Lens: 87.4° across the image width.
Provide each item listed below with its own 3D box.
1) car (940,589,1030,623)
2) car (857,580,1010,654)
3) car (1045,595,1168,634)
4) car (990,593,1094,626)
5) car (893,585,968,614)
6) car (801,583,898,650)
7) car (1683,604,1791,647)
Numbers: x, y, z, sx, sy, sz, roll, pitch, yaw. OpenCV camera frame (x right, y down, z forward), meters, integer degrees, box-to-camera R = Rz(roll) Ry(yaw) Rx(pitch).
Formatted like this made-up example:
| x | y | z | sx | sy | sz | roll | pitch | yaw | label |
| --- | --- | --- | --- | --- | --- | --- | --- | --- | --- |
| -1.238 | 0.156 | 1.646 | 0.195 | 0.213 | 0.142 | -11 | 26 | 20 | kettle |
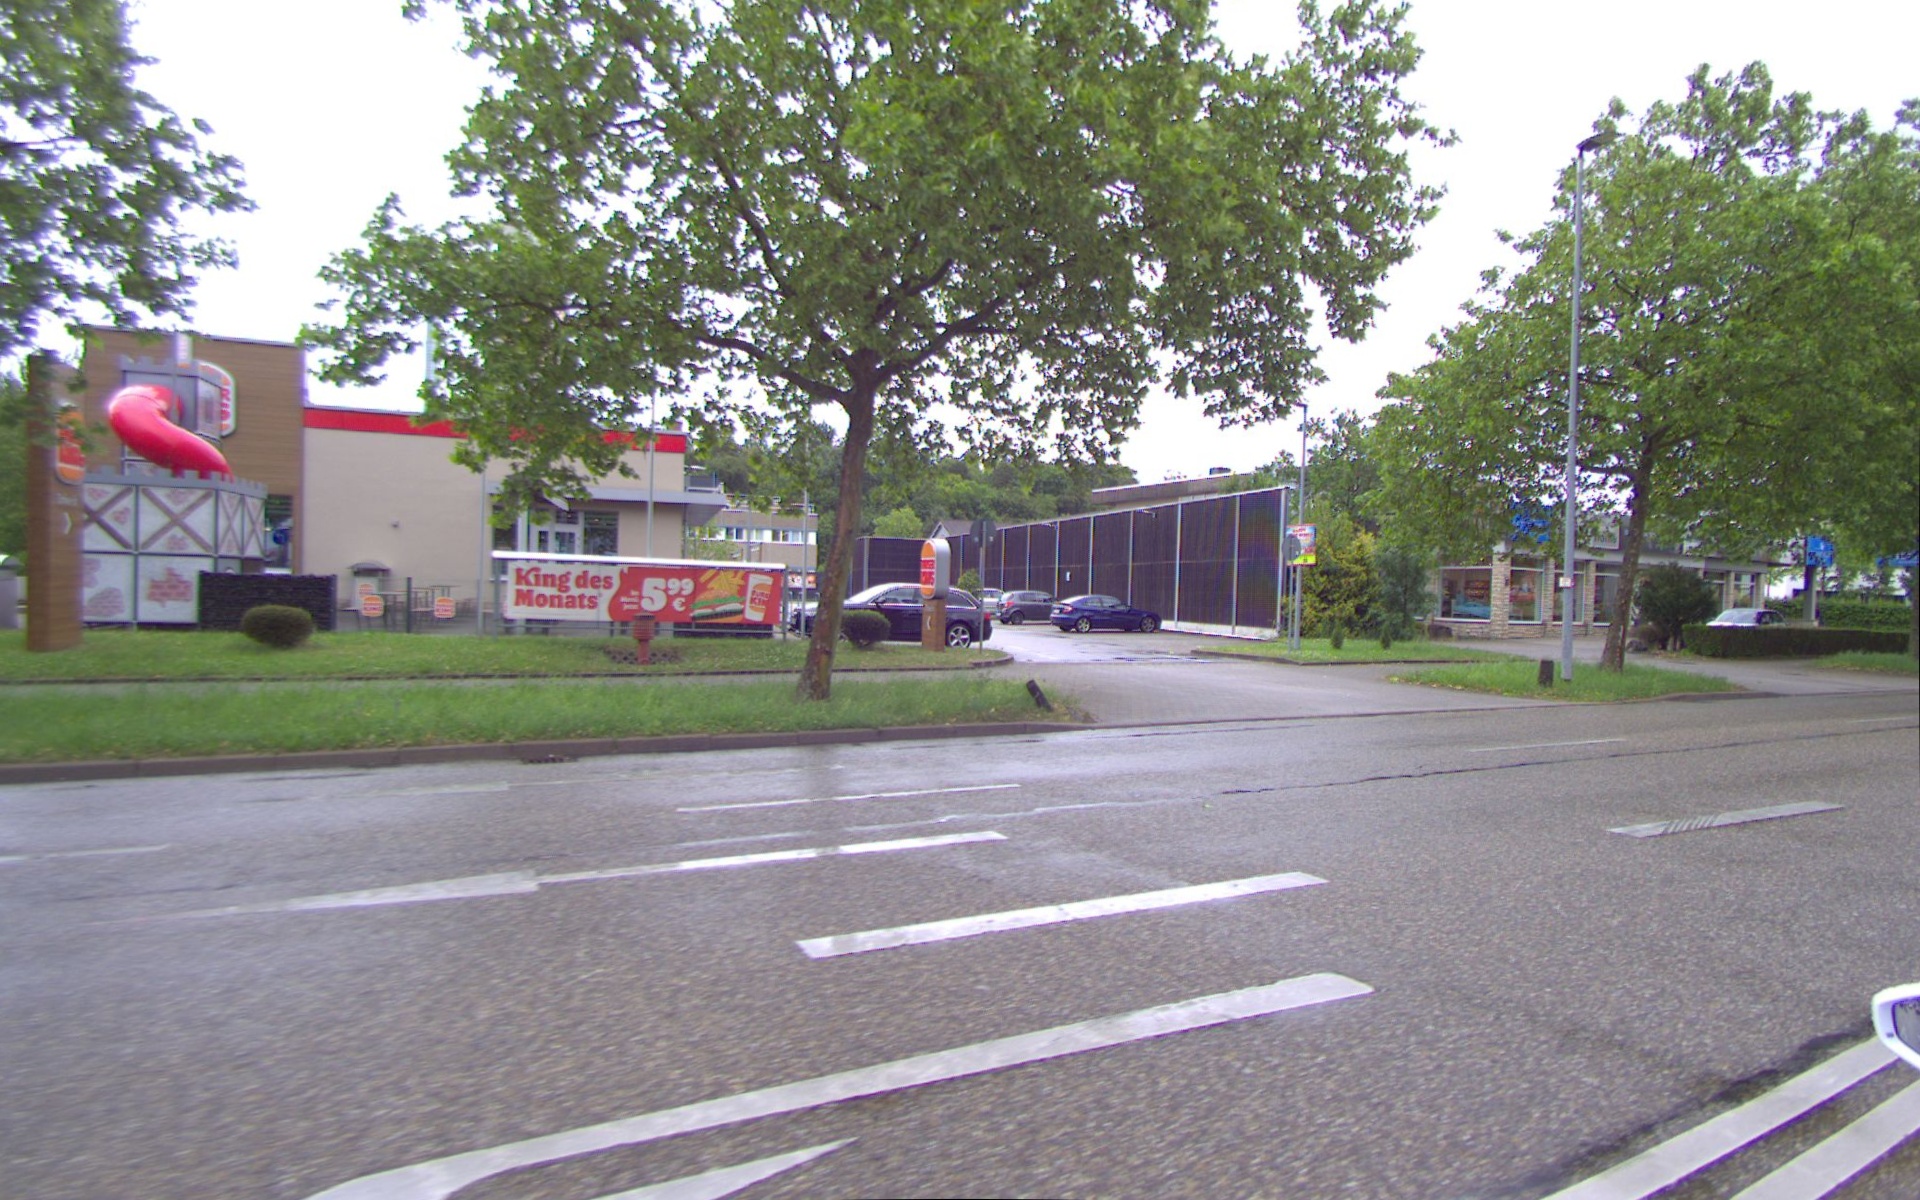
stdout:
| x | y | z | sx | sy | sz | roll | pitch | yaw | label |
| --- | --- | --- | --- | --- | --- | --- | --- | --- | --- |
| 1.262 | 0.306 | 51.588 | 4.246 | 1.660 | 1.864 | 1 | 0 | -18 | car |
| -0.610 | 0.384 | 22.942 | 3.145 | 1.445 | 1.431 | 4 | 0 | -21 | car |
| 5.510 | 0.520 | 37.951 | 4.246 | 1.383 | 1.864 | 0 | 0 | -18 | car |
| 3.650 | 0.387 | 44.744 | 4.246 | 1.383 | 1.864 | 0 | 1 | -18 | car |
| -1.829 | -0.006 | 61.691 | 4.246 | 1.660 | 1.864 | 1 | 0 | -18 | car |
| -2.369 | 0.300 | 21.011 | 1.271 | 1.171 | 3.170 | 1 | 3 | -20 | car |
| 28.453 | 0.925 | 36.762 | 3.894 | 1.506 | 1.814 | 1 | 0 | -31 | car |
